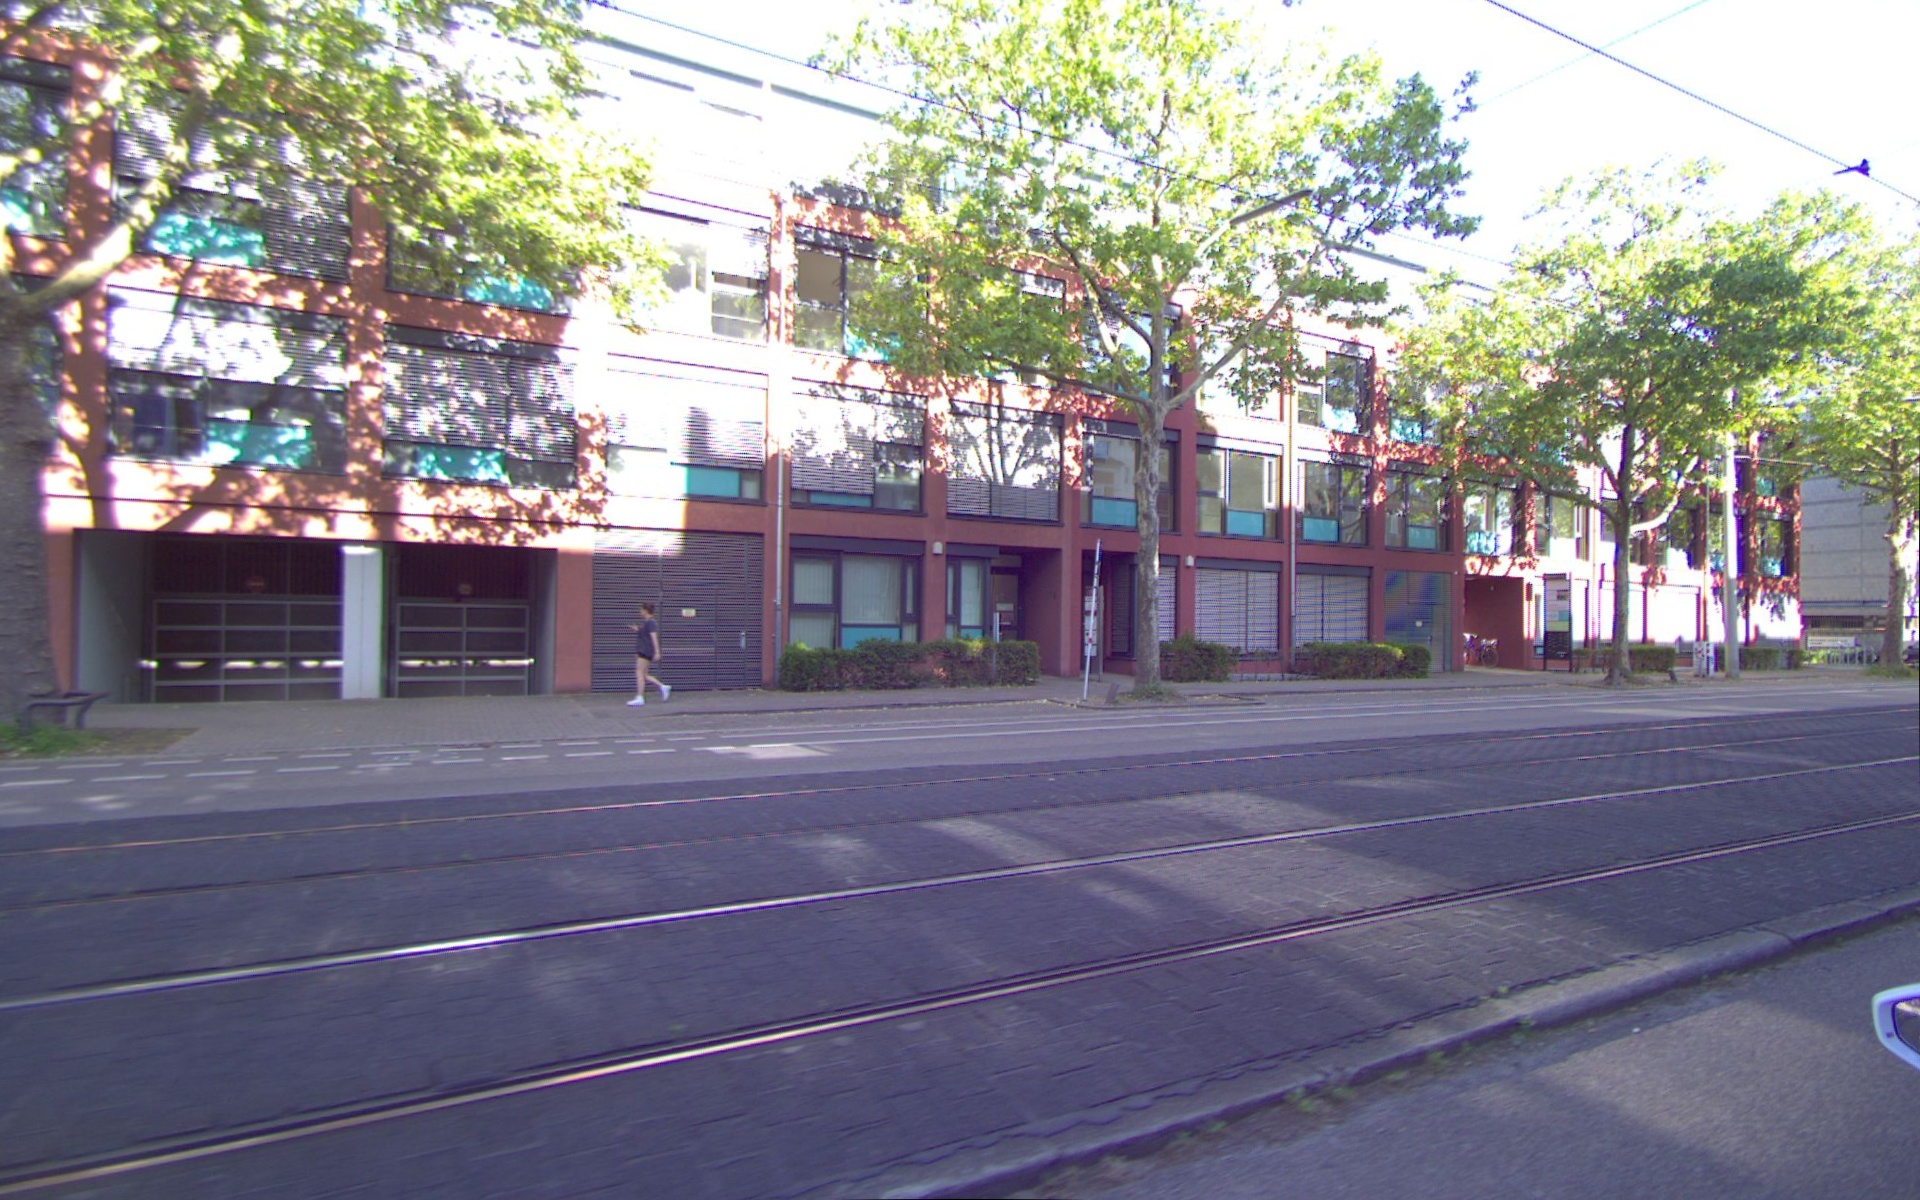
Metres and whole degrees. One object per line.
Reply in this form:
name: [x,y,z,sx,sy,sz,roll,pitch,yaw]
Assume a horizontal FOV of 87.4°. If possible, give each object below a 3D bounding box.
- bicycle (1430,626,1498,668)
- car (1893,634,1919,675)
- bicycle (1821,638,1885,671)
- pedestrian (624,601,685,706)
bicycle: [17.206,1.593,34.354,0.611,1.289,2.052,0,1,-30]
car: [36.228,2.081,37.127,3.420,1.473,1.501,3,-1,-28]
bicycle: [39.559,2.397,44.540,0.656,1.295,2.000,1,1,-27]
pedestrian: [-5.252,0.897,17.263,0.889,1.741,0.622,0,1,-29]
